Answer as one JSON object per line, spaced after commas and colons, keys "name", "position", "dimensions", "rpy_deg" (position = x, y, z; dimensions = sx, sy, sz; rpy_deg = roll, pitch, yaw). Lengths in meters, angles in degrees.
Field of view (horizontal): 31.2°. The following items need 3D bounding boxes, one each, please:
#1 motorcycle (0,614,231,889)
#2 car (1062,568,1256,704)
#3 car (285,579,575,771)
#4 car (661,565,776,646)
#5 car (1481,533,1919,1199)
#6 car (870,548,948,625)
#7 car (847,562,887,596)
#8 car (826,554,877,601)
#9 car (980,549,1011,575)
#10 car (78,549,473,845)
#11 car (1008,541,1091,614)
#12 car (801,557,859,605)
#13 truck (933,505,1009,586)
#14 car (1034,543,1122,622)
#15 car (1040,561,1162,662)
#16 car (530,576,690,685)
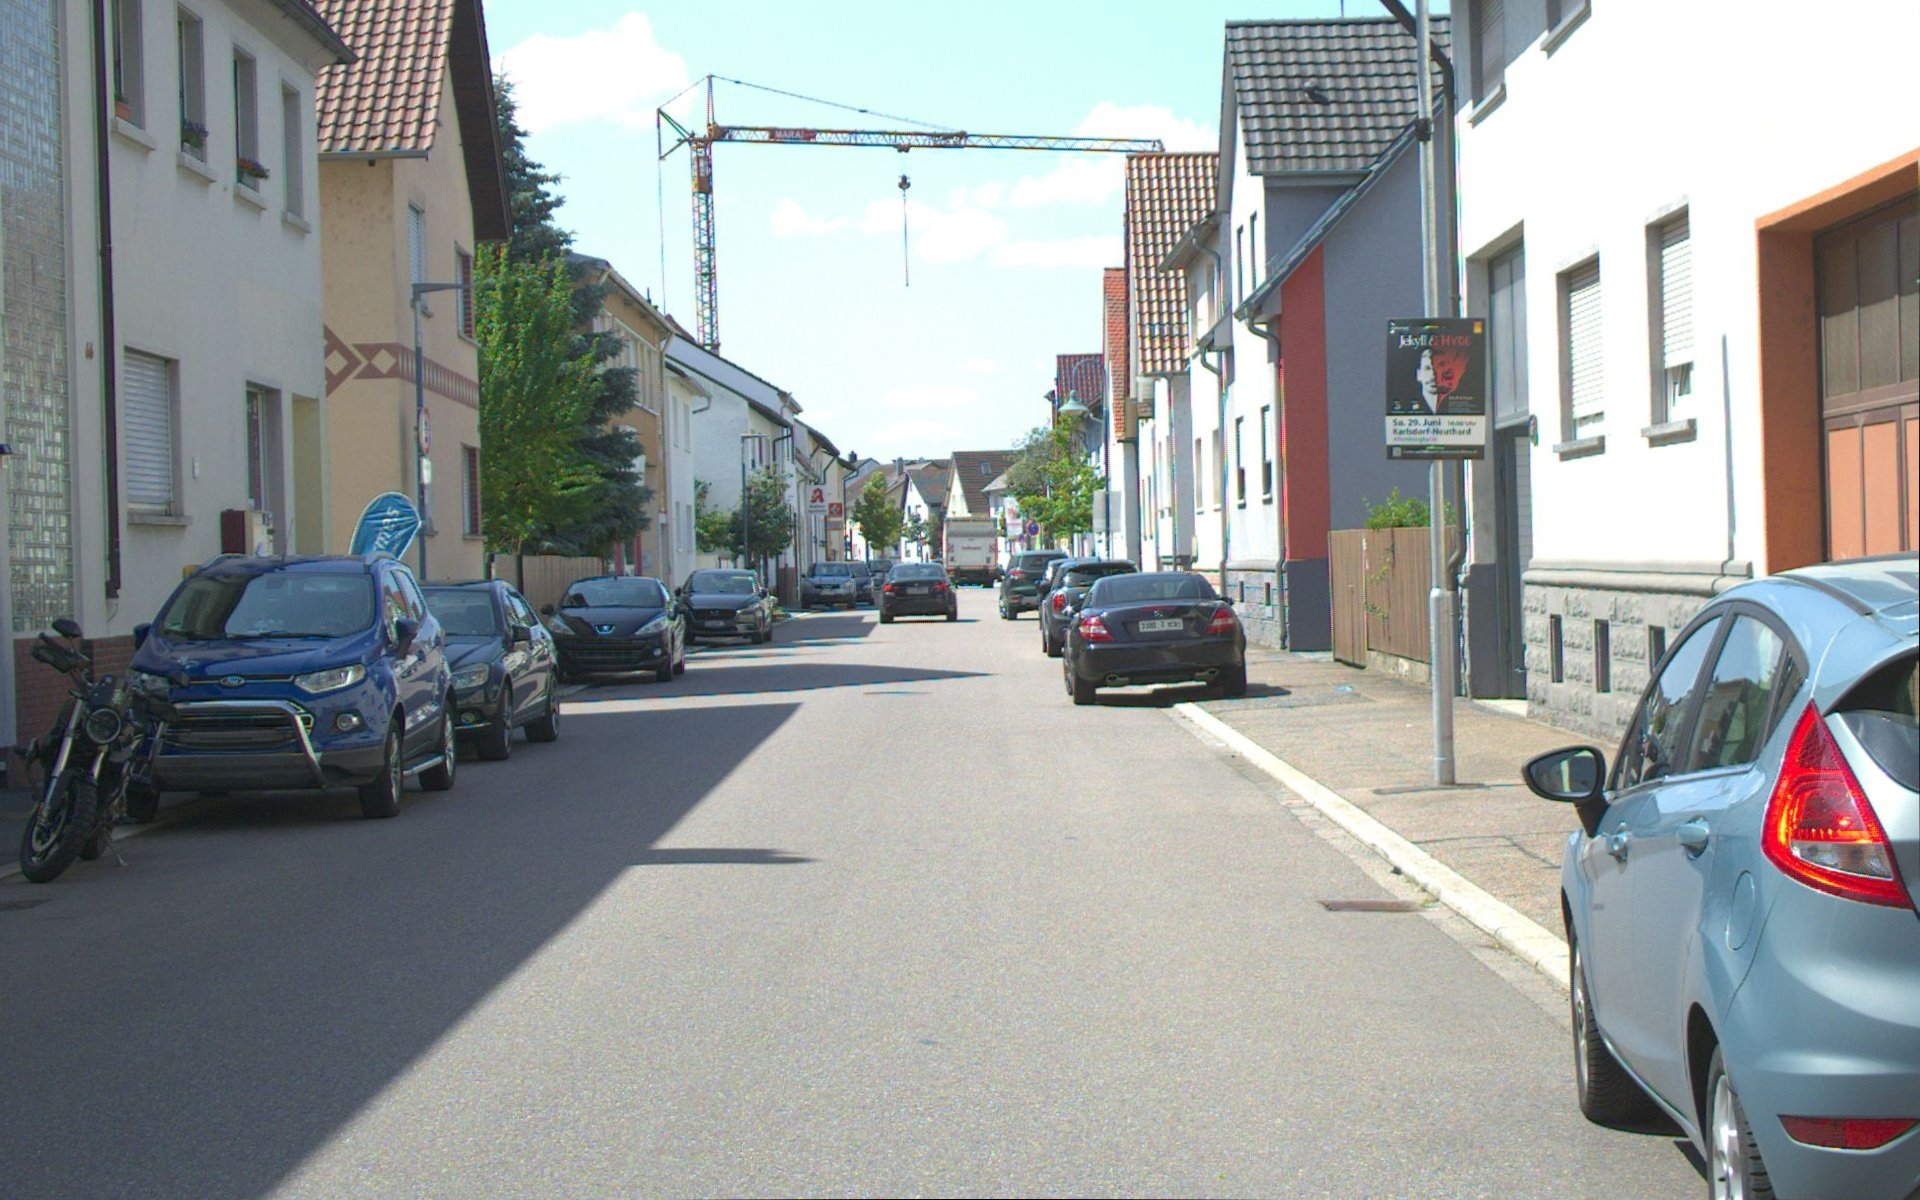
{"name": "motorcycle", "position": [-4.493, 0.762, 18.164], "dimensions": [0.808, 1.308, 2.106], "rpy_deg": [-2, 1, 0]}
{"name": "car", "position": [2.037, 0.339, 36.211], "dimensions": [1.816, 1.271, 4.147], "rpy_deg": [-2, 1, 1]}
{"name": "car", "position": [-4.356, 0.570, 28.854], "dimensions": [1.697, 1.407, 4.390], "rpy_deg": [-2, 1, 0]}
{"name": "car", "position": [-4.719, 0.085, 67.678], "dimensions": [1.768, 1.455, 4.436], "rpy_deg": [-2, 1, 2]}
{"name": "car", "position": [2.244, 0.614, 7.679], "dimensions": [1.722, 1.476, 3.749], "rpy_deg": [-5, 1, 4]}
{"name": "car", "position": [-1.246, -0.340, 84.394], "dimensions": [1.783, 1.747, 4.000], "rpy_deg": [-3, 0, -1]}
{"name": "car", "position": [-4.420, -1.000, 163.263], "dimensions": [1.723, 1.550, 4.172], "rpy_deg": [-1, 1, 1]}
{"name": "car", "position": [-3.891, -0.819, 123.857], "dimensions": [1.653, 1.603, 4.061], "rpy_deg": [-2, 1, 0]}
{"name": "car", "position": [2.296, -2.441, 223.057], "dimensions": [1.782, 1.558, 4.337], "rpy_deg": [-3, 0, -2]}
{"name": "car", "position": [-4.325, 0.541, 22.323], "dimensions": [1.717, 1.634, 4.149], "rpy_deg": [-4, 1, -1]}
{"name": "car", "position": [2.190, -0.577, 85.087], "dimensions": [1.728, 1.711, 4.276], "rpy_deg": [-2, 1, -2]}
{"name": "car", "position": [-4.411, -0.673, 117.147], "dimensions": [1.758, 1.519, 4.289], "rpy_deg": [-2, 1, 0]}
{"name": "truck", "position": [0.496, -2.727, 176.645], "dimensions": [3.379, 3.852, 13.927], "rpy_deg": [-3, 0, -1]}
{"name": "car", "position": [2.472, -0.389, 72.777], "dimensions": [1.617, 1.490, 3.972], "rpy_deg": [-4, 1, 0]}
{"name": "car", "position": [2.130, 0.151, 52.861], "dimensions": [1.688, 1.417, 3.657], "rpy_deg": [-2, 1, 0]}
{"name": "car", "position": [-4.725, 0.380, 46.872], "dimensions": [1.761, 1.369, 4.066], "rpy_deg": [-1, 1, 0]}
